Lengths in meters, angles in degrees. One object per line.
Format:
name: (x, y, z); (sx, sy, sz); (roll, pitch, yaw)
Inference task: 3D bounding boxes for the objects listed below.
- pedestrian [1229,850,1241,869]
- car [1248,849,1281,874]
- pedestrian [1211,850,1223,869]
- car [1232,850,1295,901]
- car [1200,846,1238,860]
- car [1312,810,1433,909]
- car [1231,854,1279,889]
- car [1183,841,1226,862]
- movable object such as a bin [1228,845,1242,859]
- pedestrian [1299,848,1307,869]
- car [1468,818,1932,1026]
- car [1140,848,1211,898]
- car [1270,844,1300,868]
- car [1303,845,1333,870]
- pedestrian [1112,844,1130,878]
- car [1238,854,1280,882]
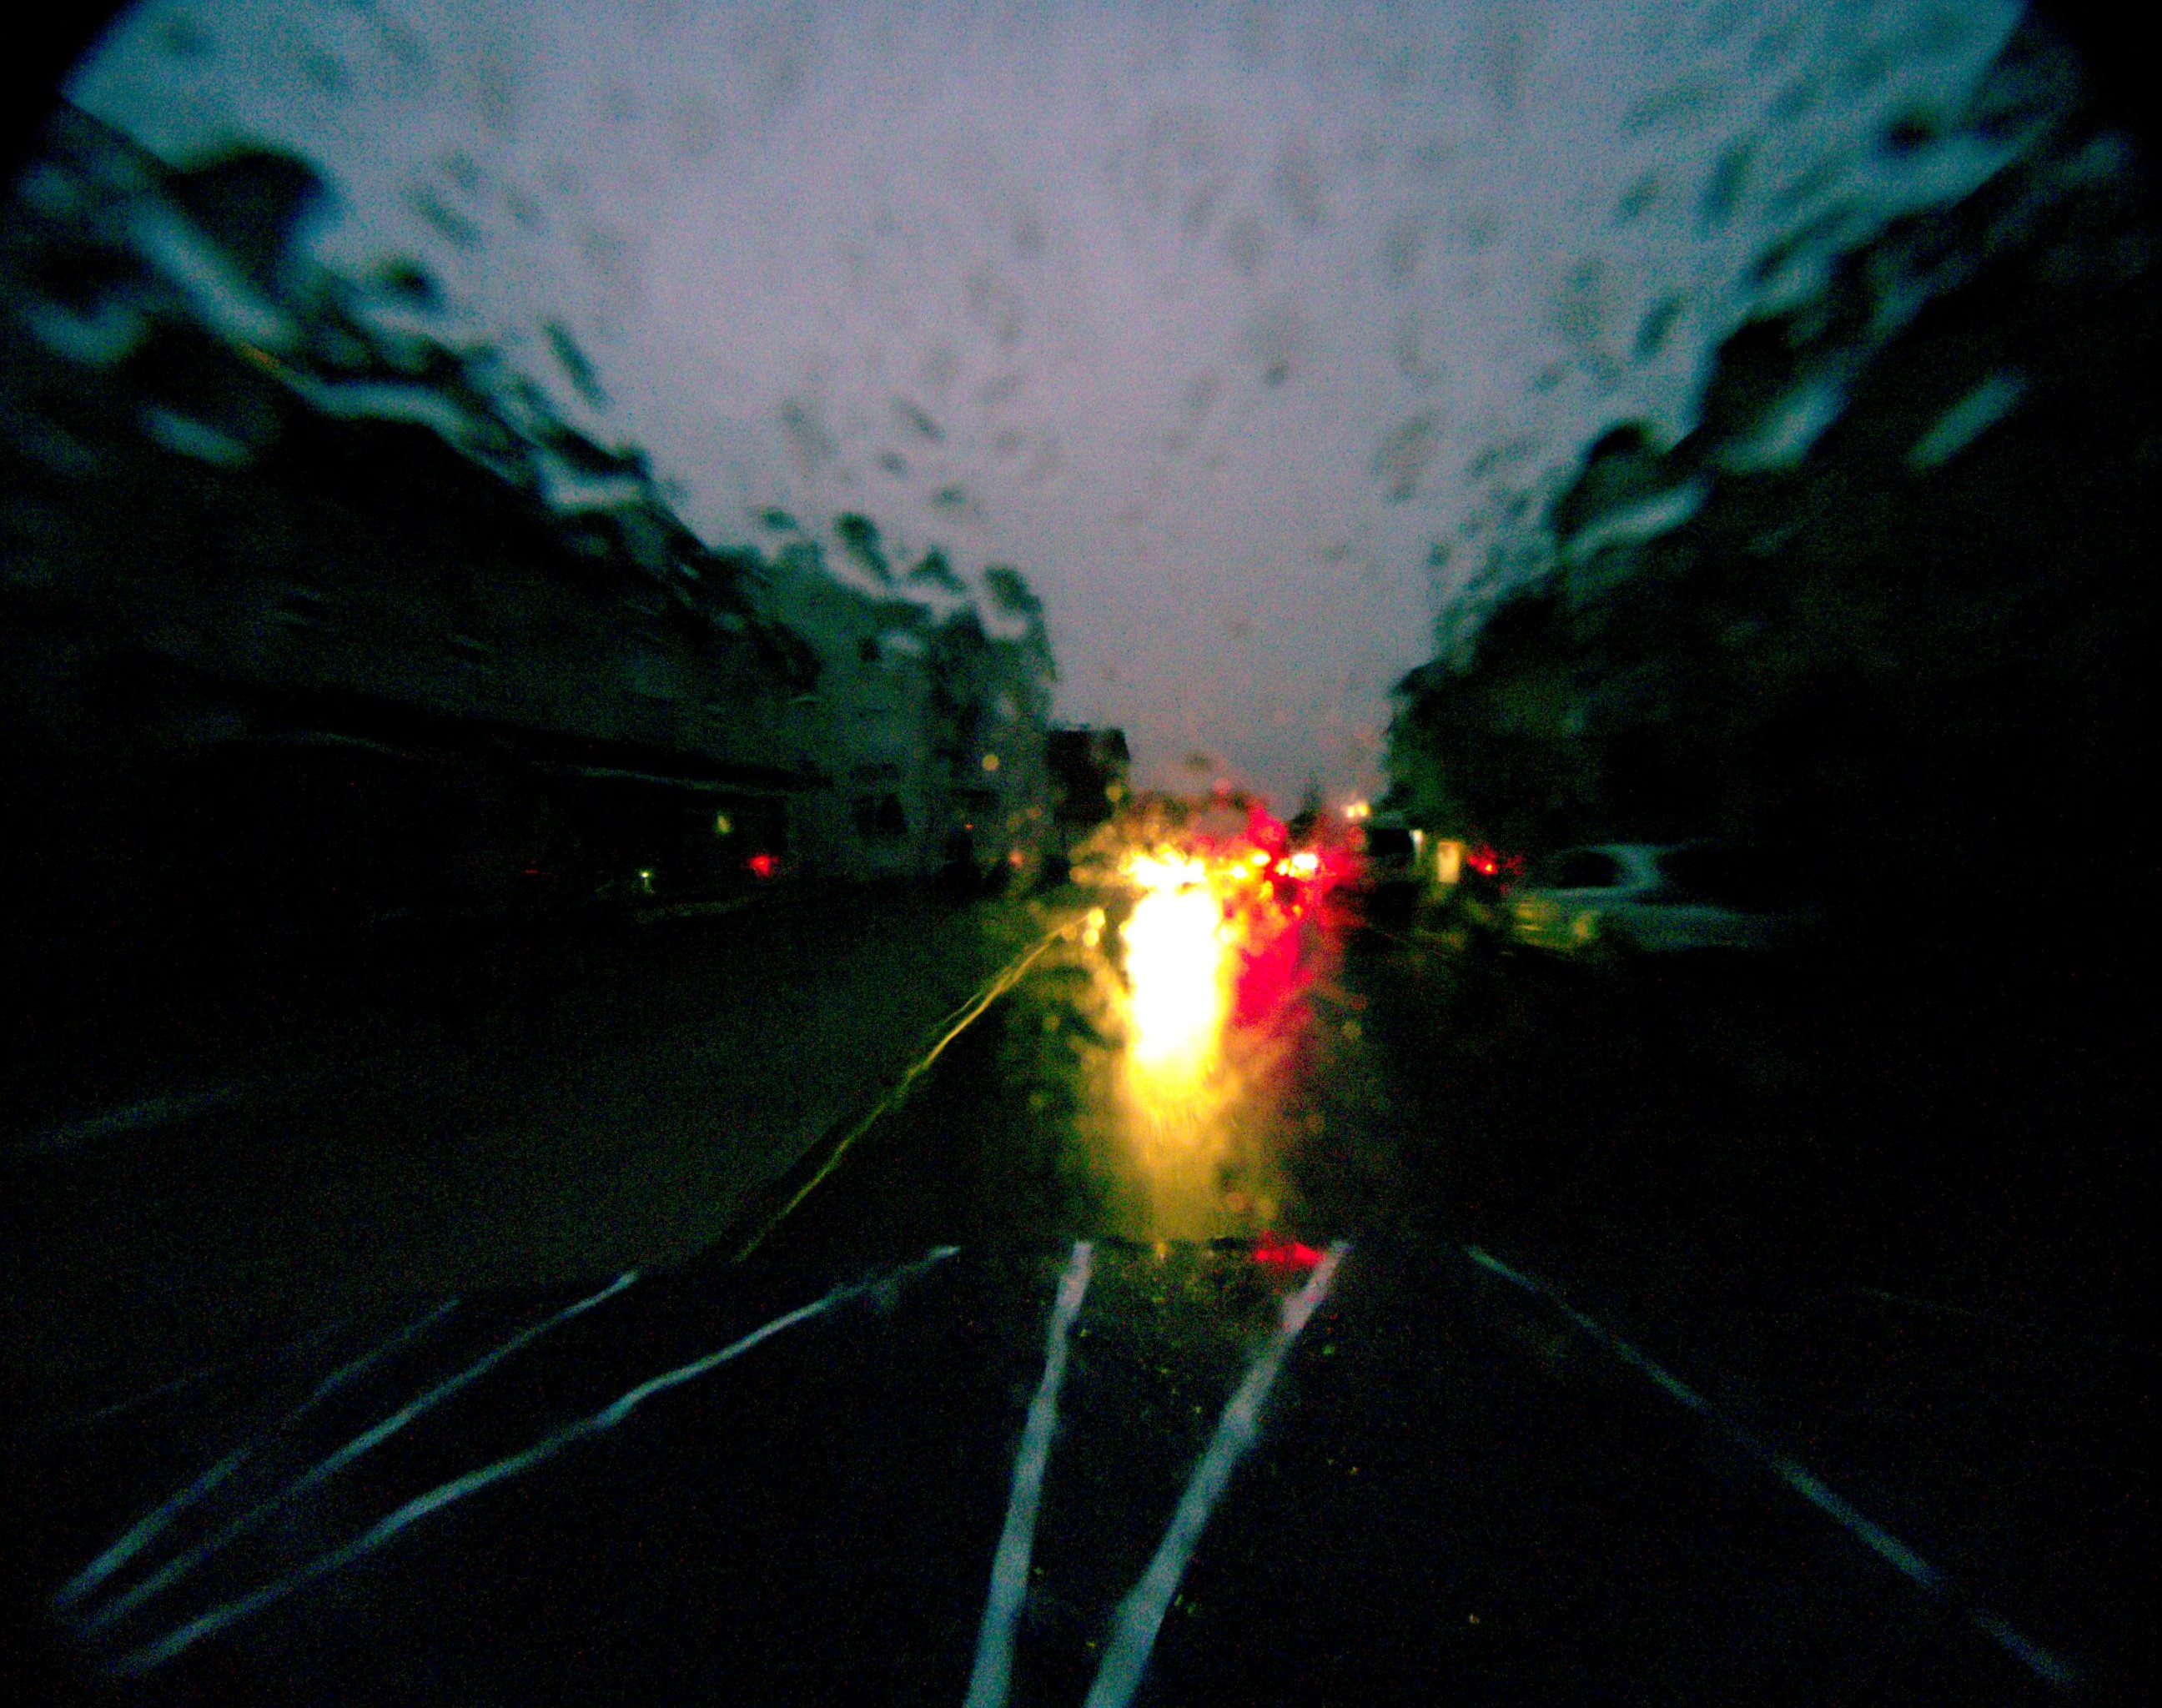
pedestrian: (15.081, 0.535, 74.475); (0.942, 1.865, 1.012); (-1, 1, -5)
car: (12.424, 0.514, 51.384); (1.954, 1.537, 4.422); (1, -2, 16)
pedestrian: (12.768, 0.505, 71.343); (0.836, 1.695, 0.847); (2, 2, 31)
car: (6.349, 0.681, 26.845); (1.920, 1.556, 4.229); (1, 1, 10)
car: (16.178, -0.115, 89.012); (3.990, 1.478, 1.915); (1, 2, 23)
car: (8.645, 0.083, 23.264); (2.489, 2.545, 6.766); (-2, 1, 13)
car: (8.573, 0.799, 37.226); (1.996, 1.547, 4.263); (1, 0, 16)
car: (13.214, -0.295, 81.494); (4.092, 2.038, 2.004); (2, 2, 28)
movable object such as a bin: (18.400, -0.218, 90.877); (1.394, 1.635, 1.263); (2, 1, 17)
pedestrian: (16.653, 0.318, 57.000); (0.529, 1.576, 0.577); (0, 0, 18)
car: (6.836, 0.594, 9.421); (1.997, 1.833, 5.306); (-2, 1, 8)
car: (3.661, 0.662, 28.838); (1.996, 1.720, 4.004); (-1, 1, 16)
car: (16.241, 0.183, 60.440); (1.996, 1.695, 4.974); (-2, -1, 18)
car: (17.287, 0.244, 55.374); (1.882, 1.700, 4.718); (-1, 1, 19)
pedestrian: (2.058, 0.359, 38.859); (0.746, 1.719, 0.874); (0, 0, 17)
car: (10.420, 0.786, 44.300); (1.859, 1.547, 4.264); (1, 0, 20)
